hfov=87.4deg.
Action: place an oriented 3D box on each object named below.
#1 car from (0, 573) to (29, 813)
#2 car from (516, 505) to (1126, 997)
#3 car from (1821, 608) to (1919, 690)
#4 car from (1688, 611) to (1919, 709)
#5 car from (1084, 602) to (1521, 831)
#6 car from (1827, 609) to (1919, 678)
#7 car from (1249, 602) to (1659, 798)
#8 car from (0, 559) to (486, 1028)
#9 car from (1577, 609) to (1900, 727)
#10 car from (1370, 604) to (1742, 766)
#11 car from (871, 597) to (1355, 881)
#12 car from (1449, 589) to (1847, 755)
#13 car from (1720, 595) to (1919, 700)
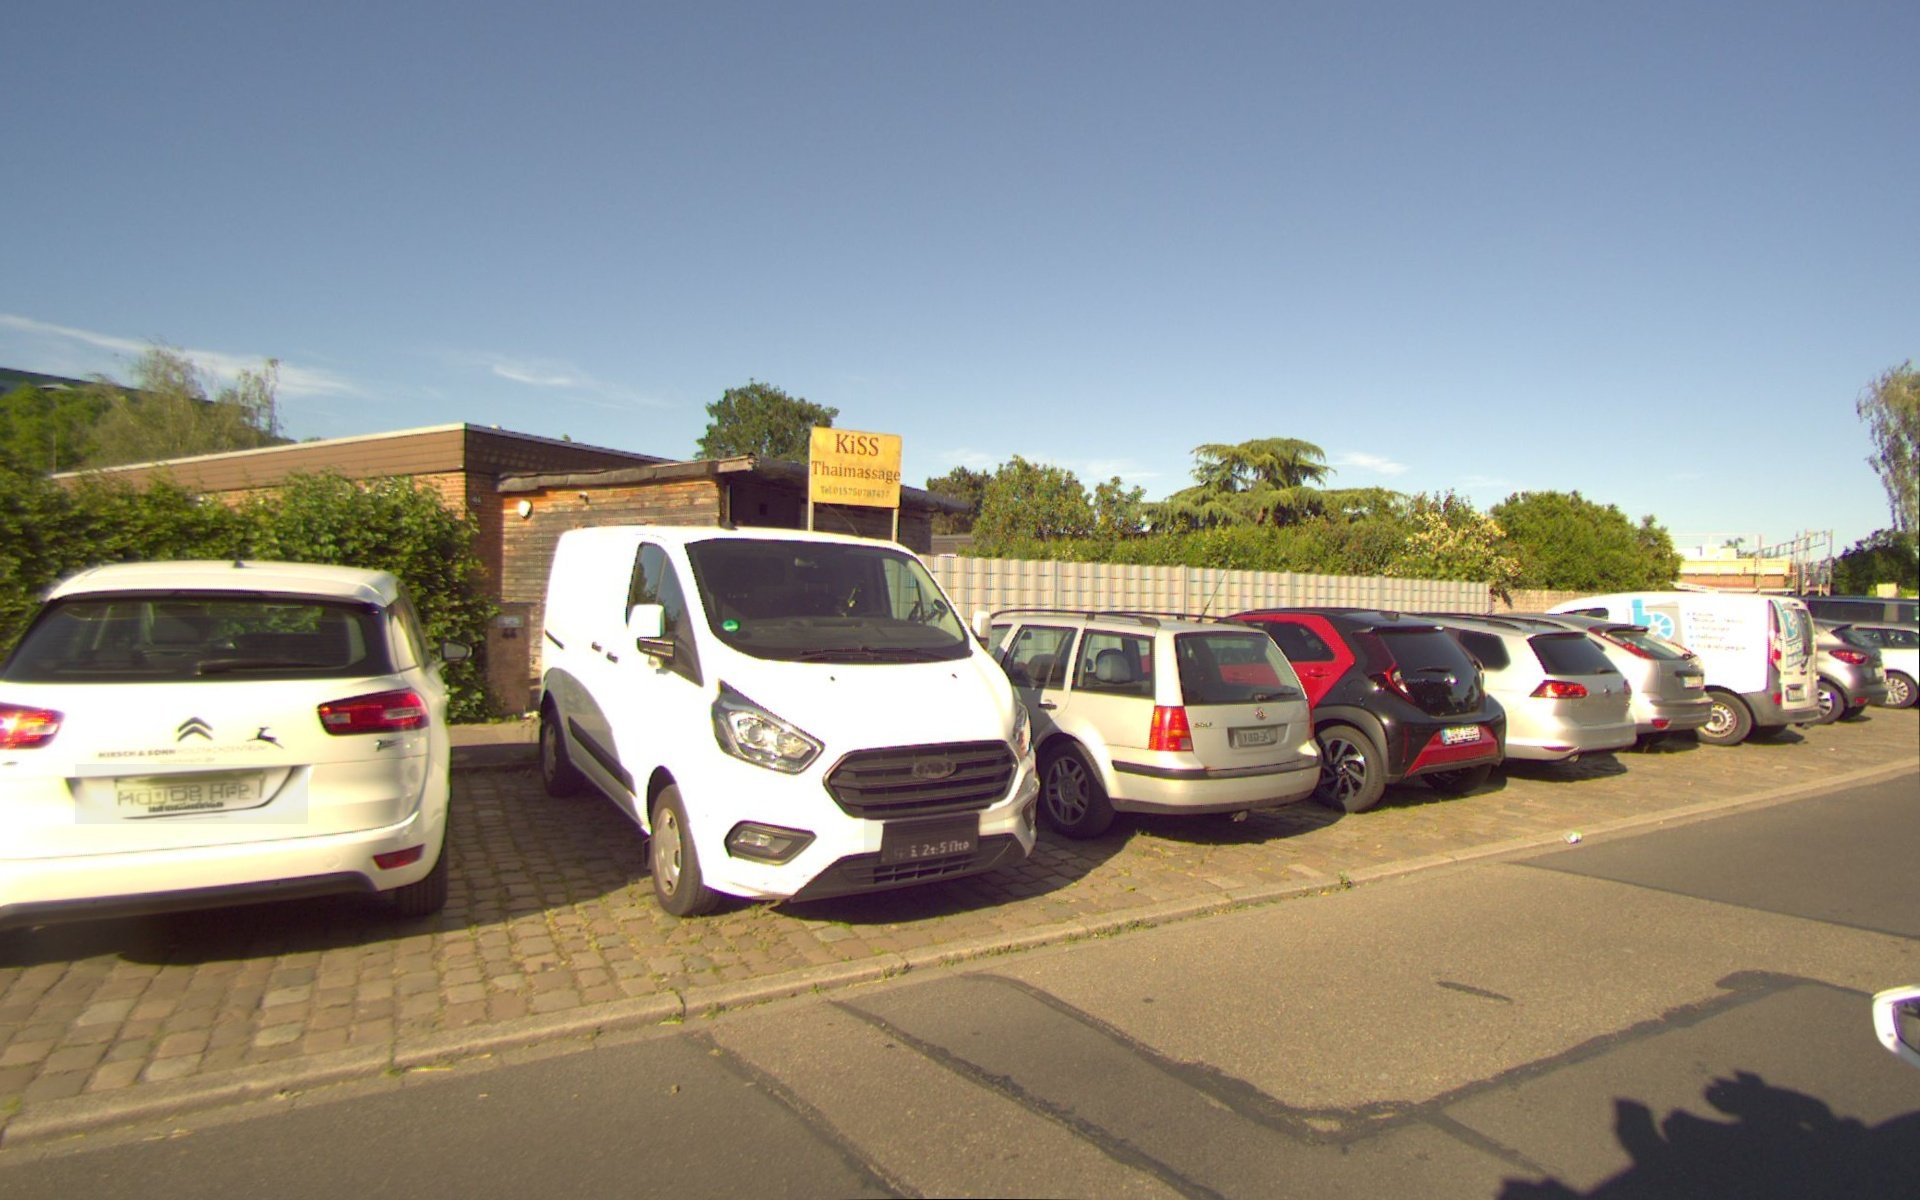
[{"bbox_3d":[-6.204,0.627,4.617,1.860,1.507,3.752,2,2,-28],"label":"car"},{"bbox_3d":[-1.345,0.523,6.526,2.060,1.946,4.760,2,2,-33],"label":"car"},{"bbox_3d":[20.978,1.103,21.401,1.714,1.628,3.592,2,2,-32],"label":"car"},{"bbox_3d":[16.519,1.084,18.924,1.905,1.512,4.112,2,1,-33],"label":"car"},{"bbox_3d":[2.894,0.844,9.136,1.619,1.509,3.492,0,2,-33],"label":"car"},{"bbox_3d":[24.790,1.169,25.368,1.799,1.634,3.964,2,2,-32],"label":"car"},{"bbox_3d":[4.910,0.873,10.462,1.617,1.509,3.497,1,2,-29],"label":"car"},{"bbox_3d":[-3.740,0.634,5.532,1.860,1.604,3.971,2,2,-28],"label":"car"},{"bbox_3d":[12.440,0.994,16.254,1.773,1.553,3.786,2,0,-37],"label":"car"},{"bbox_3d":[7.082,0.894,12.290,1.707,1.509,3.497,1,2,-29],"label":"car"},{"bbox_3d":[0.928,0.809,7.615,1.621,1.466,3.489,2,2,-36],"label":"car"},{"bbox_3d":[8.991,0.798,13.444,1.906,1.804,3.951,1,1,-35],"label":"car"},{"bbox_3d":[18.606,0.937,20.256,1.981,1.941,4.837,2,0,-36],"label":"car"}]
